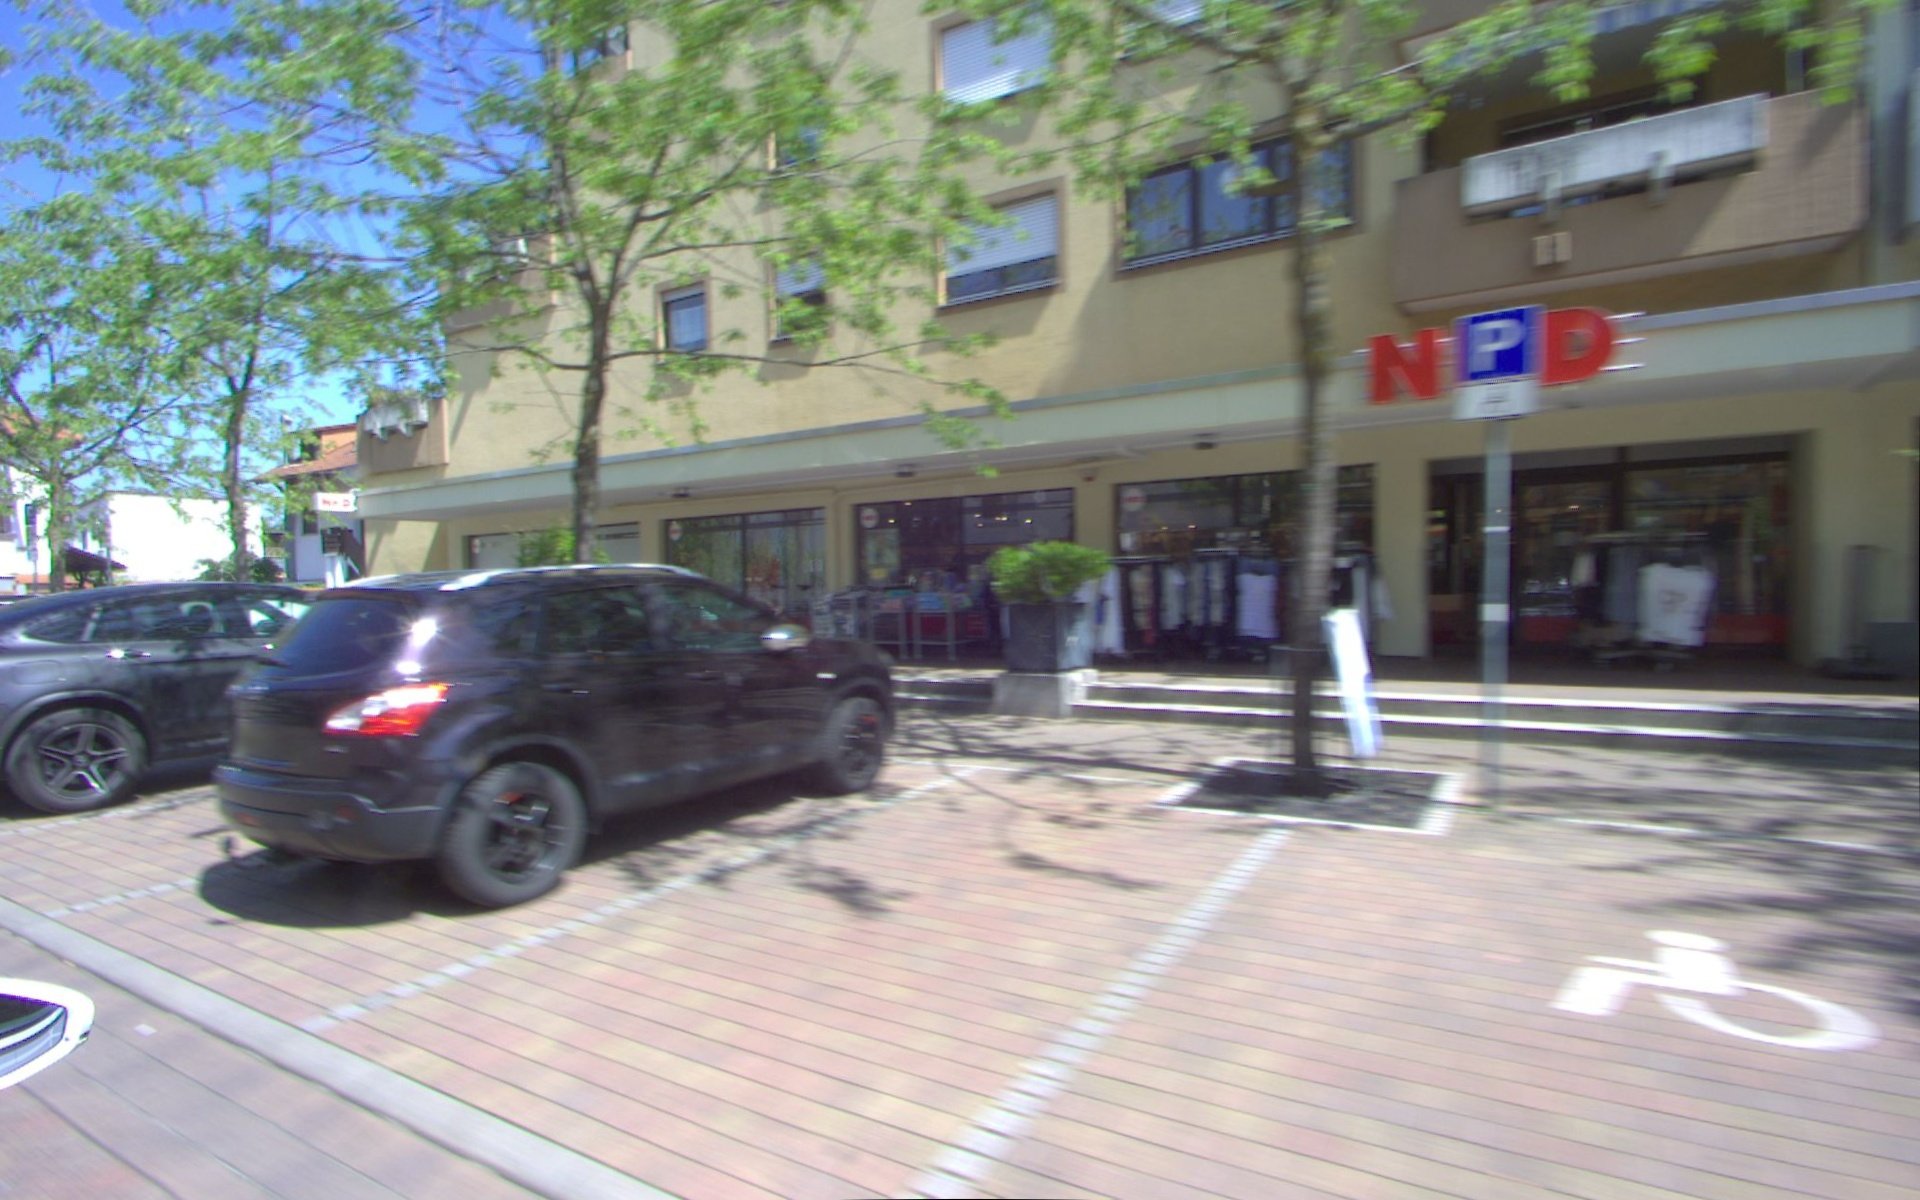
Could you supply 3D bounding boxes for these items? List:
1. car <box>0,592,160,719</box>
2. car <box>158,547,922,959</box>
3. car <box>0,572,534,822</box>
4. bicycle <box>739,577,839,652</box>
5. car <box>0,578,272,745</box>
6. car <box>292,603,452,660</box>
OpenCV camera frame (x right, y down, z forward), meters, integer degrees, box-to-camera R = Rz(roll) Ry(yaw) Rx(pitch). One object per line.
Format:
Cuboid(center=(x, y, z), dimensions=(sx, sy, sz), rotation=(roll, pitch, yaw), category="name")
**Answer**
Cuboid(center=(-13.119, 0.765, 12.910), dimensions=(1.797, 1.555, 3.935), rotation=(-1, 3, 30), category="car")
Cuboid(center=(-2.074, 0.535, 6.111), dimensions=(1.657, 1.634, 4.016), rotation=(-1, 2, 32), category="car")
Cuboid(center=(-6.231, 0.618, 8.521), dimensions=(1.825, 1.610, 4.494), rotation=(0, 2, 34), category="car")
Cuboid(center=(-2.700, 0.238, 15.724), dimensions=(1.750, 1.138, 0.411), rotation=(-1, 0, 34), category="bicycle")
Cuboid(center=(-10.651, 0.659, 11.306), dimensions=(1.970, 1.704, 4.271), rotation=(-1, 2, 30), category="car")
Cuboid(center=(-16.856, 0.850, 28.853), dimensions=(1.631, 1.471, 3.607), rotation=(0, 1, 32), category="car")
